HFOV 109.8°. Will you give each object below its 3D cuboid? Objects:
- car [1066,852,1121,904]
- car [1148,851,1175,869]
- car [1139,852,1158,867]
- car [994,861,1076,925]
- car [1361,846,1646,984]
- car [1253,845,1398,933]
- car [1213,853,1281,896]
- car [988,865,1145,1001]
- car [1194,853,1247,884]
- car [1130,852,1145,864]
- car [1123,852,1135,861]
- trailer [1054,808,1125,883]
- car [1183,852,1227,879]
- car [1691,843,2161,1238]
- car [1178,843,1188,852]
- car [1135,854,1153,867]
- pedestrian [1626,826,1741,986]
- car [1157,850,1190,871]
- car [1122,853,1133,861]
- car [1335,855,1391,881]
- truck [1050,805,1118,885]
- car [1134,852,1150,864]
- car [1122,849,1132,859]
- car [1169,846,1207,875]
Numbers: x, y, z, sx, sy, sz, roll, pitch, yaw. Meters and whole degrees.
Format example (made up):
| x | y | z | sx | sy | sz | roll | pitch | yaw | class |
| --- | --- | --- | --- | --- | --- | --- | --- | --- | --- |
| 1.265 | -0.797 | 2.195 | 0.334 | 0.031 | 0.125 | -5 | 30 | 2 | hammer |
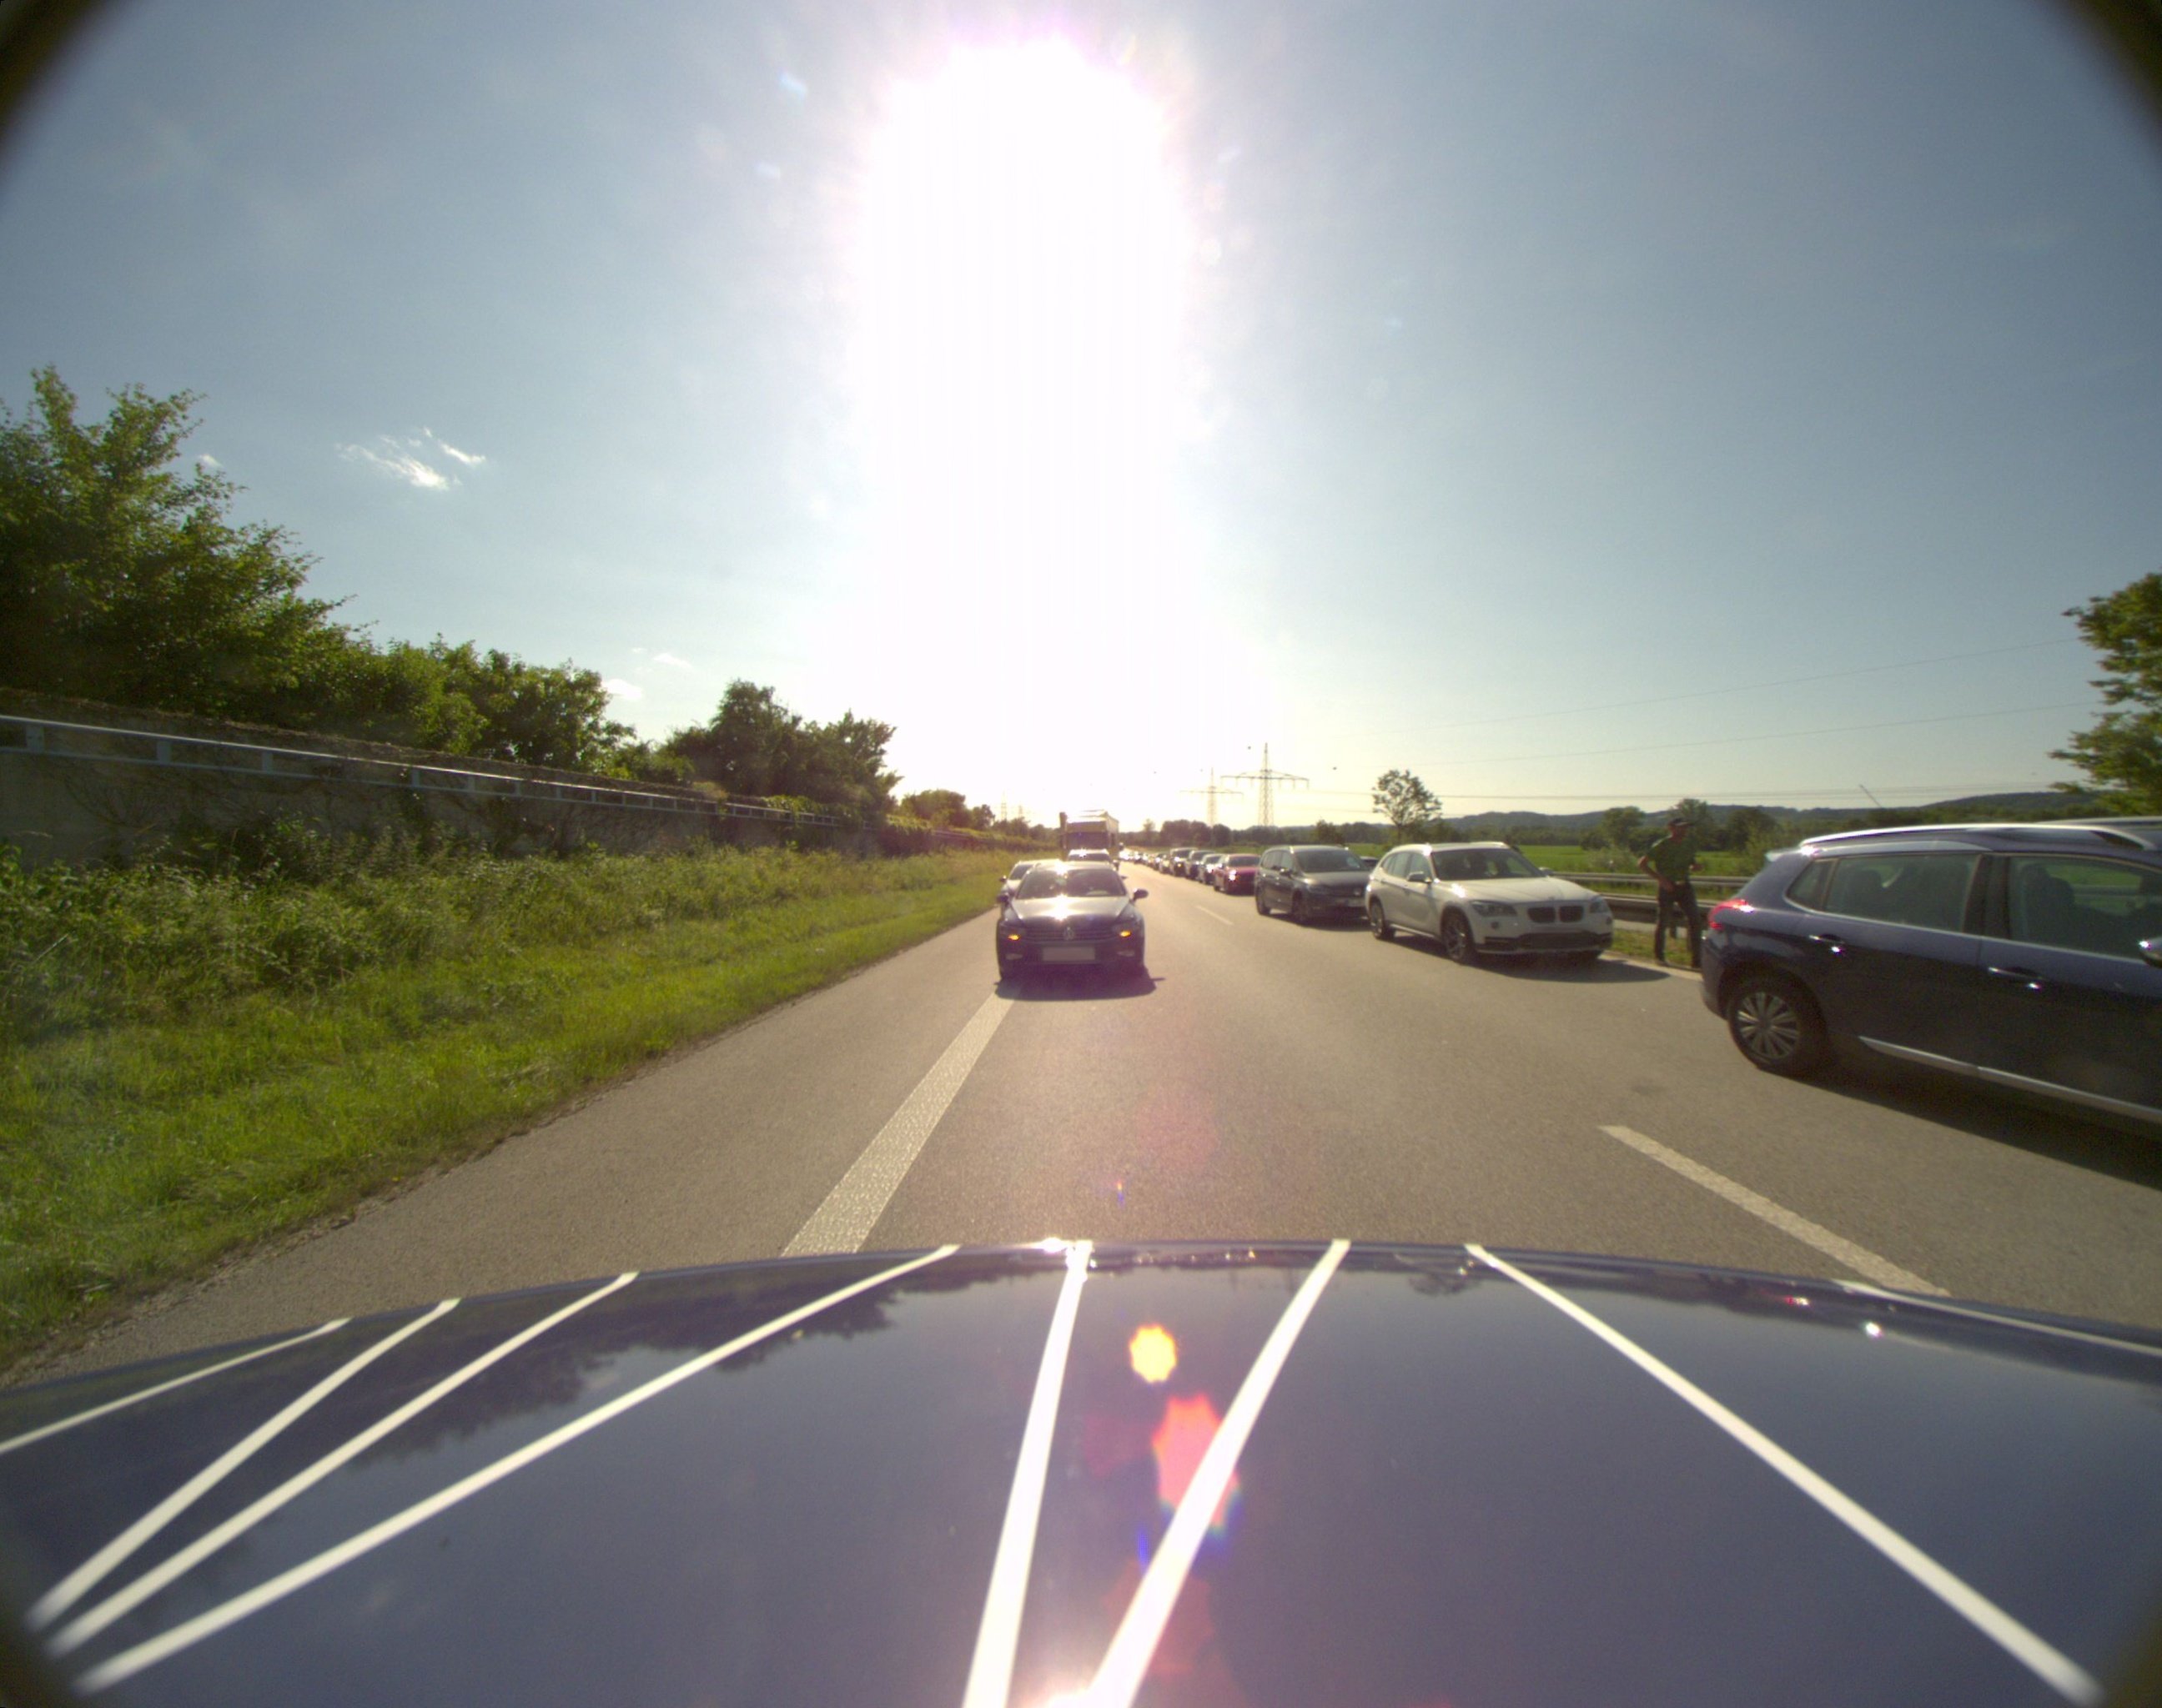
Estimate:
| x | y | z | sx | sy | sz | roll | pitch | yaw | class |
| --- | --- | --- | --- | --- | --- | --- | --- | --- | --- |
| 0.474 | 0.765 | 26.568 | 1.716 | 1.614 | 4.325 | -2 | 0 | 2 | car |
| 7.004 | 0.499 | 66.431 | 1.998 | 1.522 | 4.000 | -1 | 0 | 1 | car |
| 7.093 | 0.553 | 79.935 | 1.819 | 1.450 | 4.118 | -2 | 0 | 3 | car |
| -1.104 | 0.945 | 20.141 | 1.716 | 1.417 | 4.325 | -2 | 0 | 2 | car |
| 5.631 | 0.697 | 10.832 | 1.832 | 1.564 | 4.164 | -1 | 0 | 2 | car |
| 5.117 | 0.660 | 16.498 | 1.819 | 1.607 | 4.117 | -2 | 0 | 1 | car |
| 6.094 | 0.699 | 28.311 | 1.819 | 1.450 | 4.118 | -1 | 0 | 3 | car |
| -0.102 | 0.926 | 10.735 | 1.716 | 1.405 | 4.325 | -2 | 0 | 2 | car |
| 6.739 | 0.661 | 37.003 | 1.895 | 1.390 | 4.000 | -1 | 0 | 1 | car |
| 7.781 | 0.544 | 105.641 | 1.819 | 1.450 | 4.117 | -2 | 0 | 1 | car |
| 7.933 | 0.381 | 126.016 | 1.819 | 1.450 | 4.118 | -2 | 0 | 3 | car |
| 0.865 | -0.585 | 49.503 | 3.386 | 4.089 | 13.955 | -2 | 1 | 5 | trailer |
| 6.983 | 0.603 | 43.089 | 1.894 | 1.446 | 4.000 | -1 | 0 | 2 | car |
| 5.152 | 0.742 | 3.318 | 1.692 | 1.526 | 3.948 | -3 | 0 | -2 | car |
| 21.569 | -1.382 | 160.840 | 1.863 | 1.622 | 4.393 | -2 | 1 | 3 | car |
| 7.171 | 0.750 | 86.529 | 1.819 | 1.450 | 4.117 | -1 | 0 | 1 | car |
| 6.858 | 0.566 | 8.685 | 0.672 | 1.740 | 0.814 | -1 | 1 | 1 | pedestrian |
| 6.922 | 0.451 | 57.136 | 1.998 | 1.522 | 4.000 | -1 | 0 | 1 | car |
| 8.071 | 0.537 | 131.662 | 1.819 | 1.450 | 4.118 | -1 | 0 | 3 | car |
| 16.831 | 0.810 | 45.534 | 1.716 | 1.405 | 4.567 | -2 | 0 | 2 | car |
| 0.324 | -0.493 | 43.416 | 3.332 | 4.089 | 6.970 | -2 | 1 | 3 | truck |
| 7.762 | 0.505 | 97.212 | 1.819 | 1.450 | 4.118 | -1 | 0 | 2 | car |
| 8.504 | 0.037 | 140.991 | 1.813 | 1.783 | 3.773 | -1 | 0 | 1 | car |
| 6.979 | 0.413 | 49.960 | 1.902 | 1.777 | 4.200 | -1 | 0 | 1 | car |
